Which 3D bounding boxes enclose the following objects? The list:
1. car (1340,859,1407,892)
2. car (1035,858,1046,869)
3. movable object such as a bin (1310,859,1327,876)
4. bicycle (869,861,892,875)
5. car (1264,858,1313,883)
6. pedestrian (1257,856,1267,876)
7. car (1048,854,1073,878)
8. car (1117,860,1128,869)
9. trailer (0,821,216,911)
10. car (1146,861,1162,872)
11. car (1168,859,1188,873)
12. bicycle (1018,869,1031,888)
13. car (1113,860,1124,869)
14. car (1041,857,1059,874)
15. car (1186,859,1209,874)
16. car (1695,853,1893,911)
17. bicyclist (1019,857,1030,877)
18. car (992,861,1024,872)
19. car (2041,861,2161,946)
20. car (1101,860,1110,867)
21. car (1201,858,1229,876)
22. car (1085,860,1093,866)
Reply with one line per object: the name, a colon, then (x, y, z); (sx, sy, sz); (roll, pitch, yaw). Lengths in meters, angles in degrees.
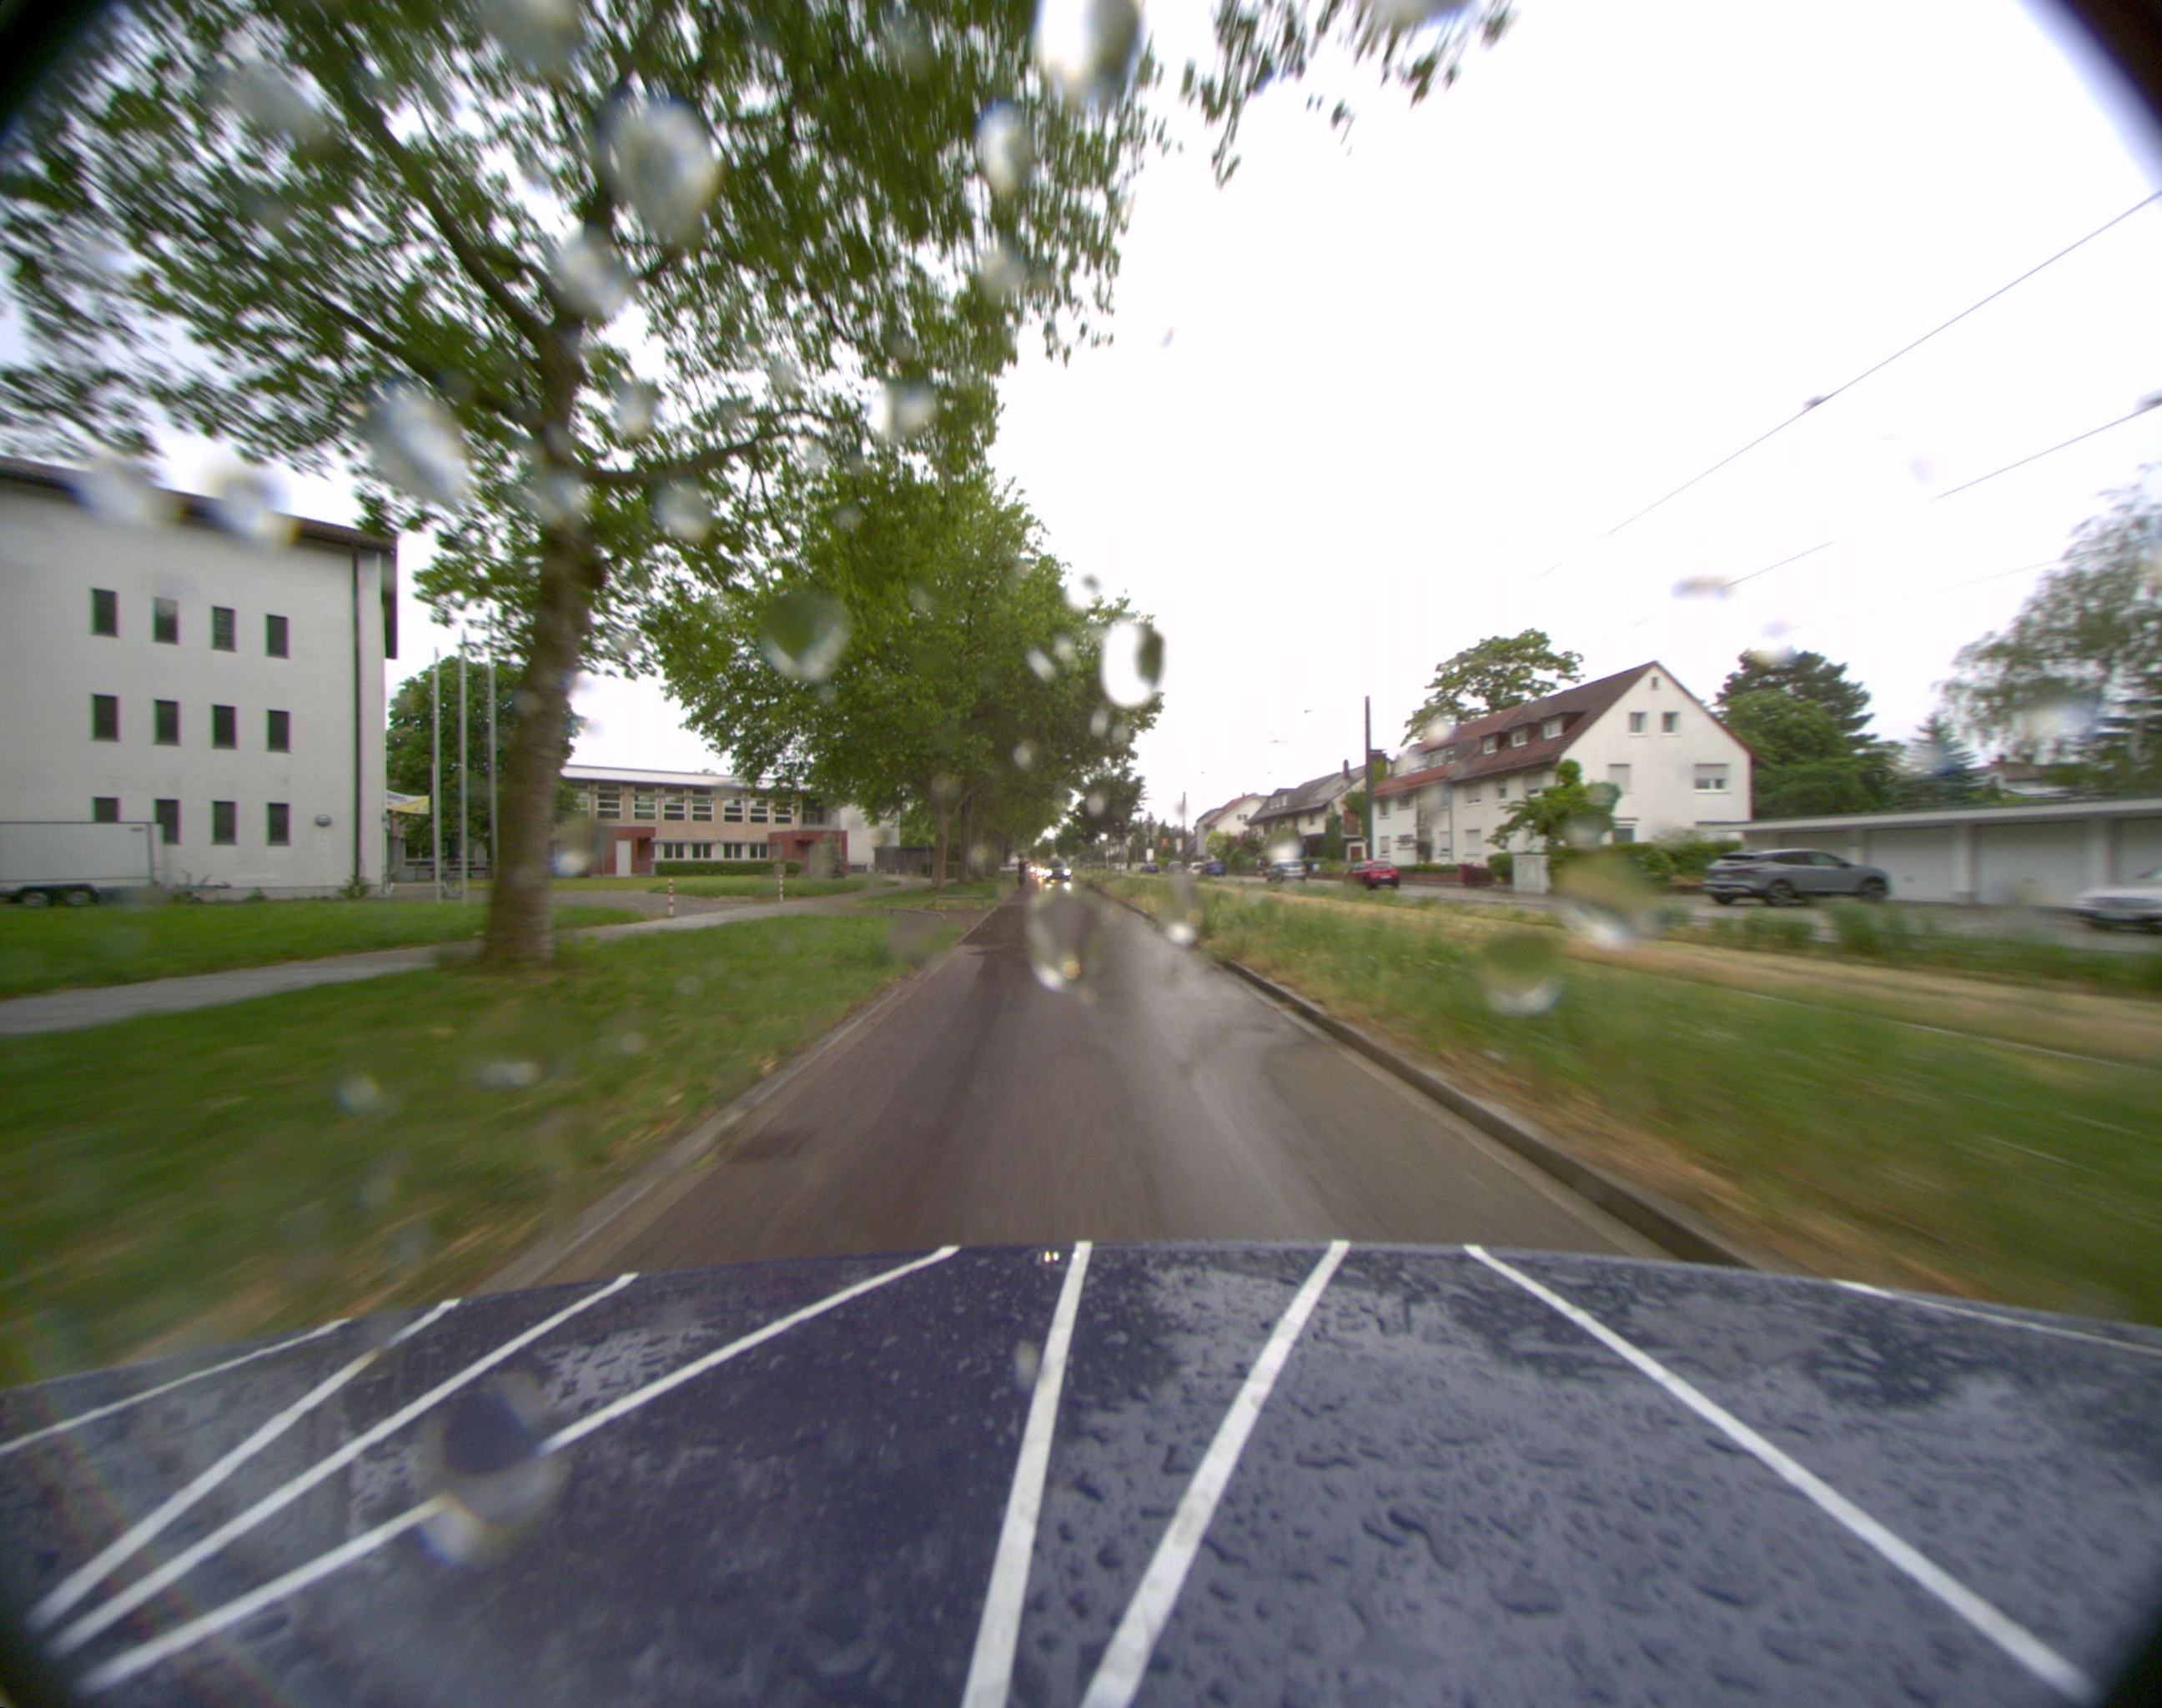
car: (15.316, 1.073, 40.001); (1.846, 1.538, 3.972); (-3, 0, -2)
car: (-6.443, 1.528, 120.565); (1.768, 1.715, 3.932); (0, 0, -5)
movable object such as a bin: (19.489, 1.109, 62.340); (1.187, 1.290, 0.739); (-2, 0, -2)
bicycle: (-16.843, 1.175, 63.922); (0.520, 1.115, 1.943); (2, 1, 40)
car: (14.531, 1.146, 53.483); (1.999, 1.604, 4.683); (-2, 0, -2)
pedestrian: (16.321, 1.079, 68.595); (0.600, 1.757, 0.869); (-2, 0, -2)
car: (-1.639, 0.953, 58.638); (1.768, 1.714, 3.934); (-2, -1, -3)
car: (8.012, 2.012, 146.817); (1.759, 1.507, 3.853); (-3, 0, -3)
trailer: (-27.202, 0.327, 21.082); (4.029, 2.295, 1.887); (0, 0, -42)
car: (10.922, 1.807, 113.227); (1.759, 1.507, 3.853); (-3, 0, -3)
car: (12.221, 1.530, 95.697); (1.759, 1.604, 4.110); (-3, 0, -3)
bicycle: (-3.243, 1.405, 43.626); (0.659, 1.008, 2.256); (0, 0, -3)
car: (7.432, 2.069, 151.336); (1.759, 1.507, 3.853); (-3, 0, -3)
car: (-3.307, 1.154, 79.683); (1.768, 1.715, 3.933); (-1, 0, -4)
car: (12.880, 1.417, 84.162); (1.718, 1.520, 3.600); (-3, 0, -3)
car: (20.290, 0.761, 21.735); (3.998, 1.567, 1.892); (0, 0, -3)
bicyclist: (-3.239, 0.740, 43.535); (0.622, 1.078, 0.624); (0, 1, -3)
car: (-9.740, 1.630, 101.405); (4.021, 1.478, 1.636); (0, 0, -22)
car: (20.570, 0.811, 13.470); (4.737, 1.357, 1.848); (-1, 0, 0)
car: (5.597, 2.132, 173.885); (1.759, 1.507, 3.853); (-3, 0, -3)
car: (13.562, 1.302, 77.172); (1.849, 1.696, 4.181); (-2, 0, -4)
car: (2.176, 2.432, 206.581); (1.759, 1.507, 3.853); (-3, 0, -3)
